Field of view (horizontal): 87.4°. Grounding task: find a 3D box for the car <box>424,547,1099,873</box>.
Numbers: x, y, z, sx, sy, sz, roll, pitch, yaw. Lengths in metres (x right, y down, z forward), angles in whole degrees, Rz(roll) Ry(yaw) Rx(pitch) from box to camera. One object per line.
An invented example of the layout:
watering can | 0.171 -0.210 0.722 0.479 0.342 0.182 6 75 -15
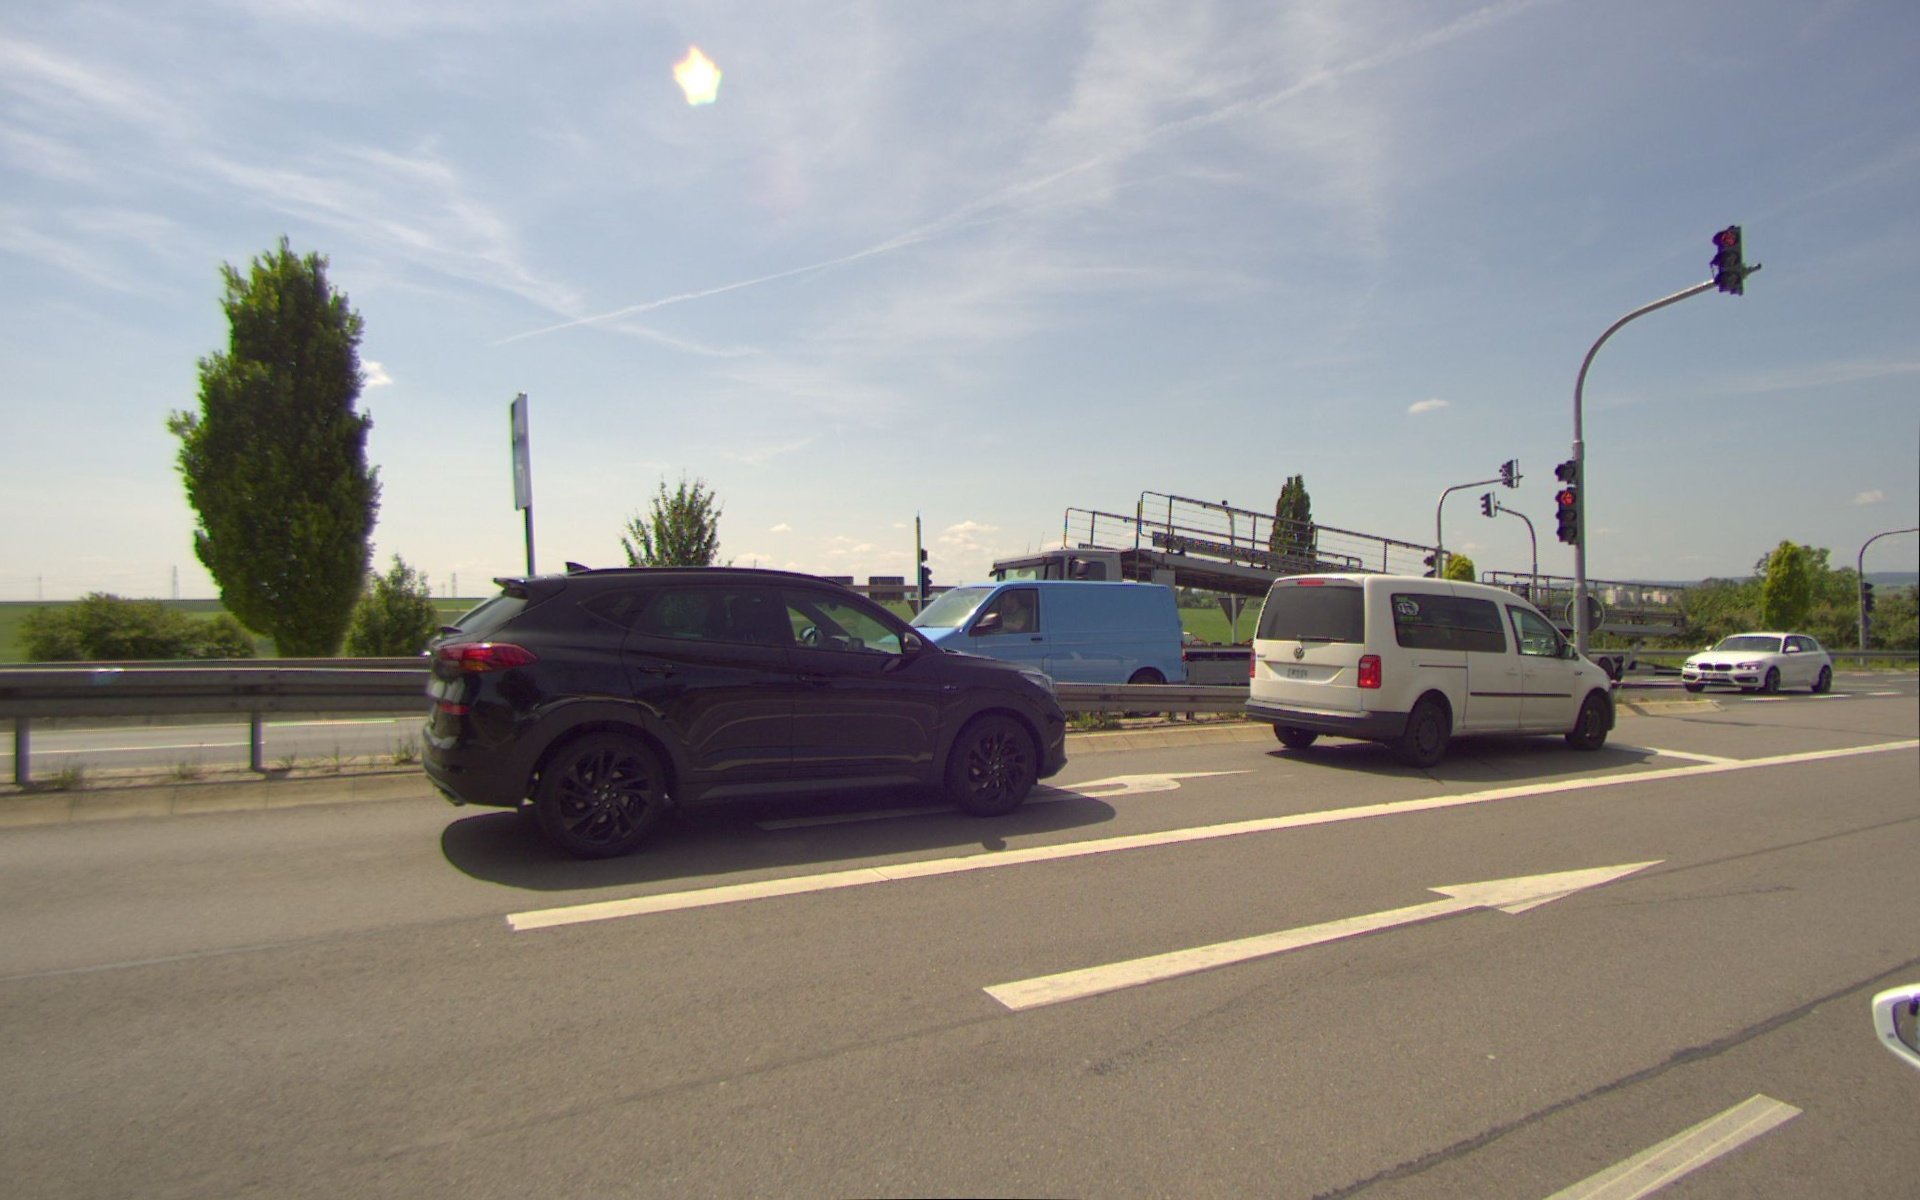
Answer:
car | -1.299 0.599 7.066 4.298 1.679 1.847 1 0 -31

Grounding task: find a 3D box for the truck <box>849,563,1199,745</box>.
truck | 0.950 0.736 14.049 4.568 2.185 1.957 2 -2 -30

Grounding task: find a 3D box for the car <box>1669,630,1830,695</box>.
car | 19.196 1.494 24.408 3.953 1.452 1.764 2 -2 -30

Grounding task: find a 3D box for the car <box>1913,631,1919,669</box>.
car | 39.701 2.002 39.835 3.754 1.516 1.638 2 -3 -28

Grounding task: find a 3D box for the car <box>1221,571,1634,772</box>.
car | 5.224 0.686 11.040 4.697 1.822 1.759 1 0 -31

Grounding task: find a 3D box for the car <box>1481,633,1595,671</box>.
car | 26.335 2.361 45.914 4.413 1.479 1.630 2 0 30

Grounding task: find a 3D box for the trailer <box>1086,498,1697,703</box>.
trailer | 11.753 0.329 24.692 19.564 3.813 2.627 2 -1 -30

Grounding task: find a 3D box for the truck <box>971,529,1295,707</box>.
truck | 3.473 0.419 19.927 5.918 3.053 2.787 2 -1 -30
